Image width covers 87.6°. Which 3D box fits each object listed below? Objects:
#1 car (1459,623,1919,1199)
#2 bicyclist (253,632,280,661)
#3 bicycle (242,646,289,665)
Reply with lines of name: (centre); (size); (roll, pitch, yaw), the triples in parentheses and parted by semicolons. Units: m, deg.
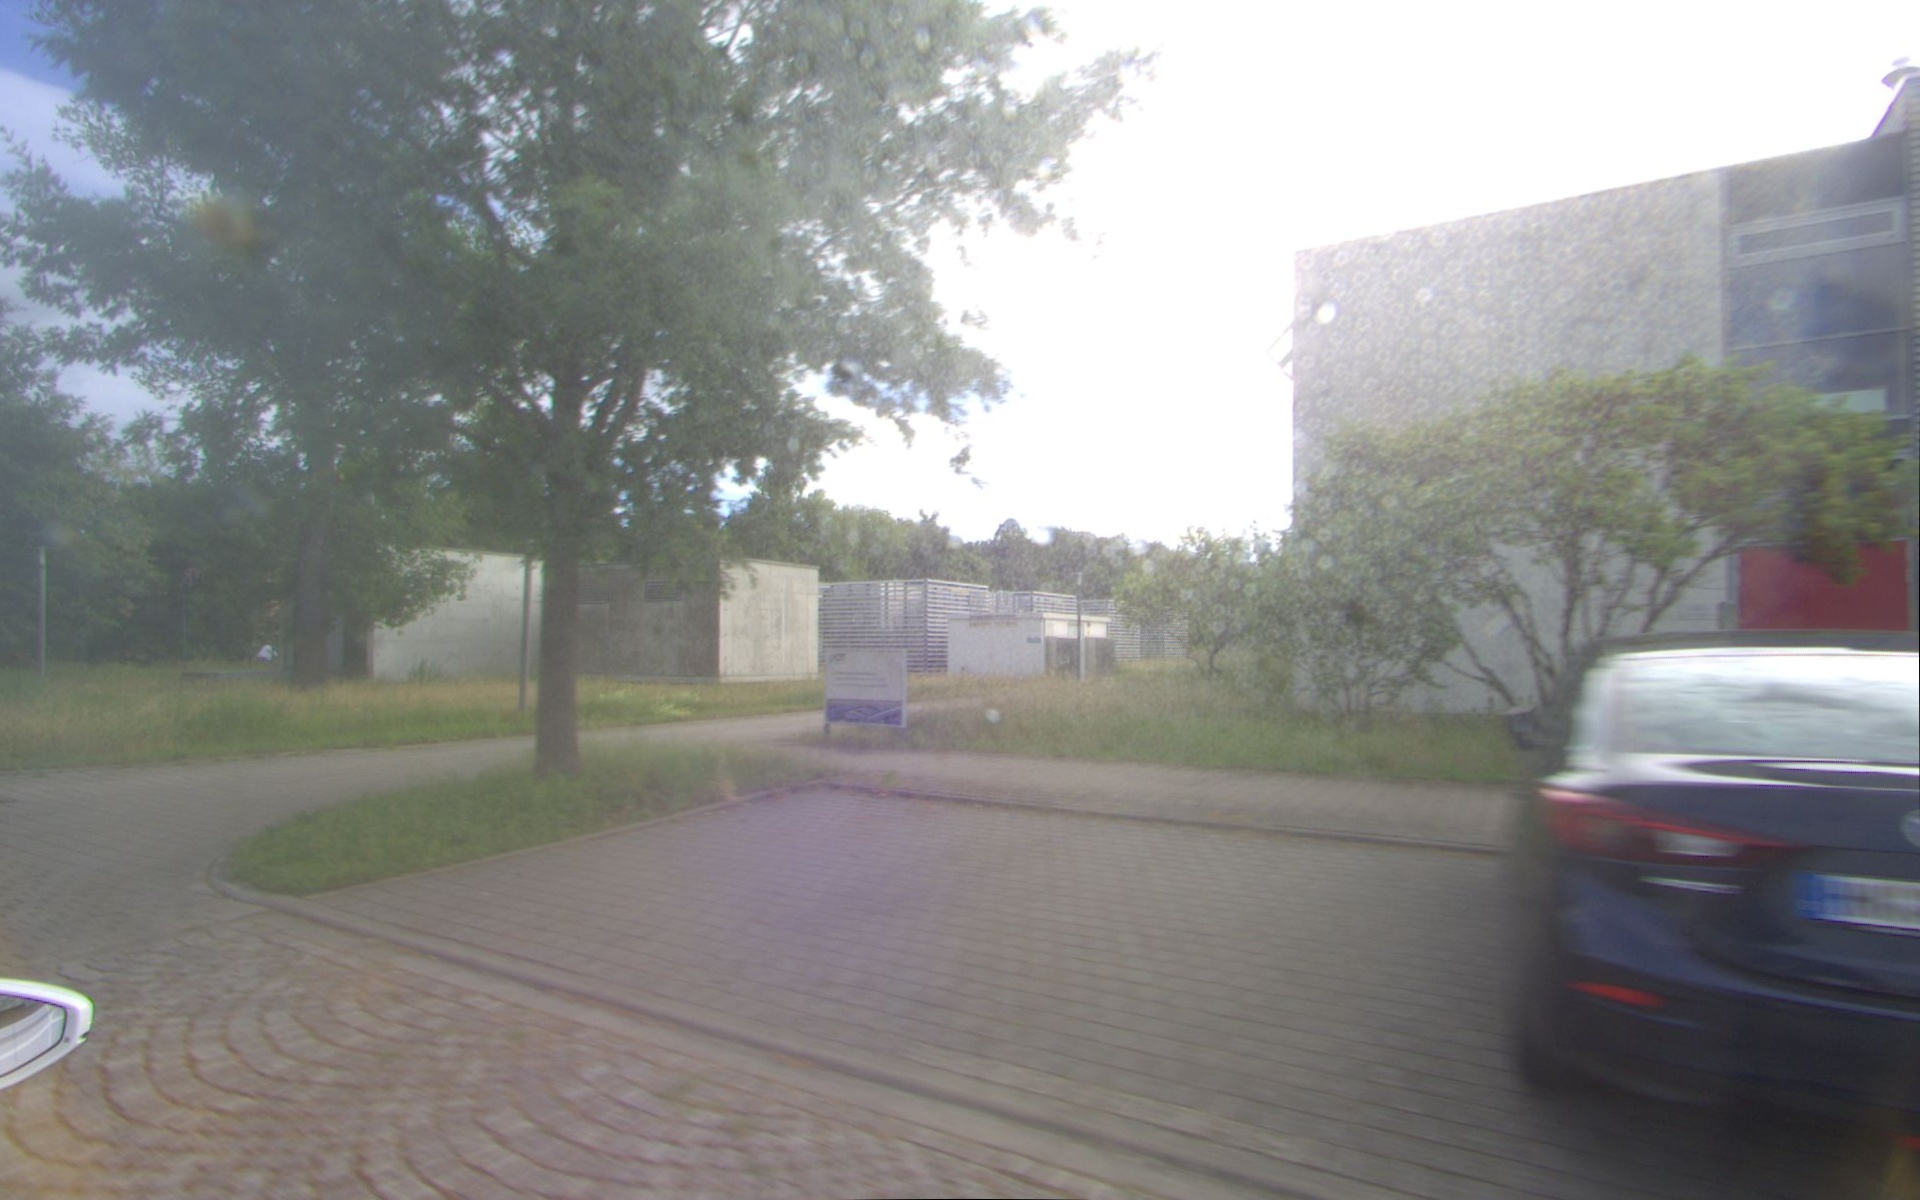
car: (3.216, 0.835, 3.984); (1.916, 1.465, 4.458); (-1, -2, 30)
bicyclist: (-29.400, 1.971, 42.469); (0.579, 1.222, 0.769); (-1, -2, 31)
bicycle: (-29.410, 2.331, 42.403); (0.579, 0.801, 1.515); (-1, -3, 30)
